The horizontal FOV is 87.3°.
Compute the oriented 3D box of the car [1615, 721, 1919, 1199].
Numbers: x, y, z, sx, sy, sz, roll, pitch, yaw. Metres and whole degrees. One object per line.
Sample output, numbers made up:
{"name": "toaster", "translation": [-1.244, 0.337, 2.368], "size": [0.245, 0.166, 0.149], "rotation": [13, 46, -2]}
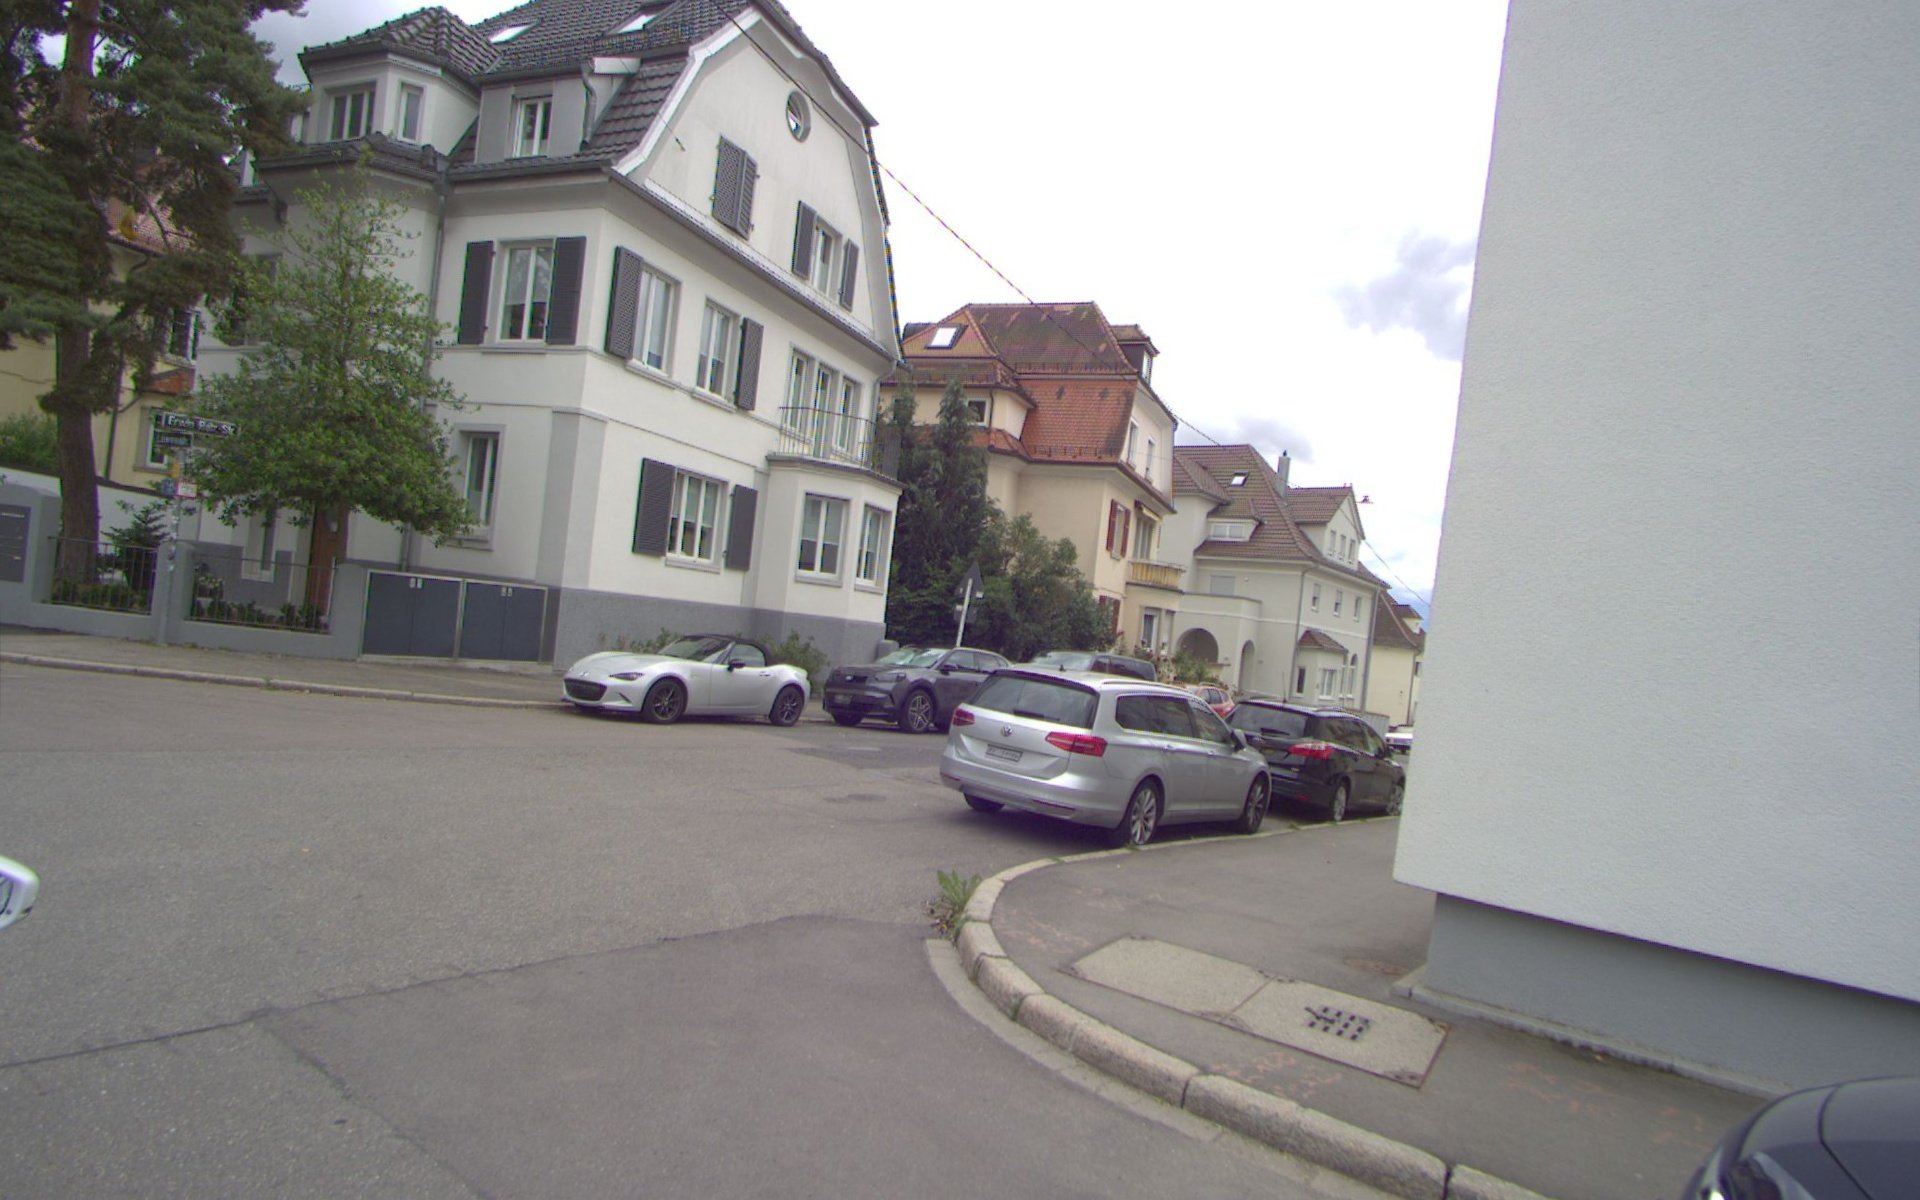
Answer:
{"name": "car", "translation": [3.117, 1.169, 0.816], "size": [4.217, 1.503, 1.821], "rotation": [6, -1, 33]}

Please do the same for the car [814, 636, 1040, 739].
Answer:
{"name": "car", "translation": [-0.468, 1.615, 18.049], "size": [1.648, 1.457, 4.192], "rotation": [1, -7, 39]}

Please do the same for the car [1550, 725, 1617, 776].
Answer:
{"name": "car", "translation": [24.182, 5.850, 38.945], "size": [1.703, 1.604, 3.991], "rotation": [5, -4, 38]}

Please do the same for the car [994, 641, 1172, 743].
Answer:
{"name": "car", "translation": [2.856, 2.105, 22.388], "size": [1.864, 1.912, 4.505], "rotation": [2, -6, 36]}

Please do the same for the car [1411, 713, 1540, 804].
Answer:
{"name": "car", "translation": [11.829, 3.607, 22.954], "size": [1.840, 1.623, 3.992], "rotation": [5, -4, 37]}

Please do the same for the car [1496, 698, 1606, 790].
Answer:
{"name": "car", "translation": [19.404, 4.722, 32.853], "size": [2.084, 2.440, 5.877], "rotation": [7, -3, 39]}

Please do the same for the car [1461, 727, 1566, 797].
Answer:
{"name": "car", "translation": [14.955, 4.345, 27.075], "size": [1.712, 1.469, 3.989], "rotation": [7, -3, 39]}

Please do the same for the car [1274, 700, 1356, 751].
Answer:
{"name": "car", "translation": [12.499, 4.414, 35.273], "size": [1.596, 1.576, 3.964], "rotation": [2, -5, 36]}

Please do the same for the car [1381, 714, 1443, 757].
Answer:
{"name": "car", "translation": [20.402, 6.131, 45.326], "size": [1.595, 1.577, 3.966], "rotation": [6, -4, 37]}

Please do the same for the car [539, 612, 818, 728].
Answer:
{"name": "car", "translation": [-3.851, 1.041, 14.244], "size": [1.645, 1.275, 3.474], "rotation": [3, -5, 34]}

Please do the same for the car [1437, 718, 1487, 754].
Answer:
{"name": "car", "translation": [26.733, 7.269, 53.505], "size": [1.595, 1.577, 3.966], "rotation": [6, -4, 37]}

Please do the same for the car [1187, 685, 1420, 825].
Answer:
{"name": "car", "translation": [4.922, 2.148, 14.063], "size": [1.712, 1.437, 3.989], "rotation": [7, -3, 39]}

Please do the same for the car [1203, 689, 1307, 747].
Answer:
{"name": "car", "translation": [9.096, 3.620, 30.789], "size": [1.743, 1.529, 3.964], "rotation": [2, -5, 36]}

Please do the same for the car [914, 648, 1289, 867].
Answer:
{"name": "car", "translation": [1.636, 1.473, 9.964], "size": [1.736, 1.466, 4.350], "rotation": [7, -2, 36]}

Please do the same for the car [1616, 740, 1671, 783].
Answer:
{"name": "car", "translation": [30.790, 7.267, 45.278], "size": [1.703, 1.604, 3.878], "rotation": [5, -4, 38]}

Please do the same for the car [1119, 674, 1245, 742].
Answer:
{"name": "car", "translation": [5.979, 2.919, 26.789], "size": [1.743, 1.529, 3.965], "rotation": [2, -6, 36]}
